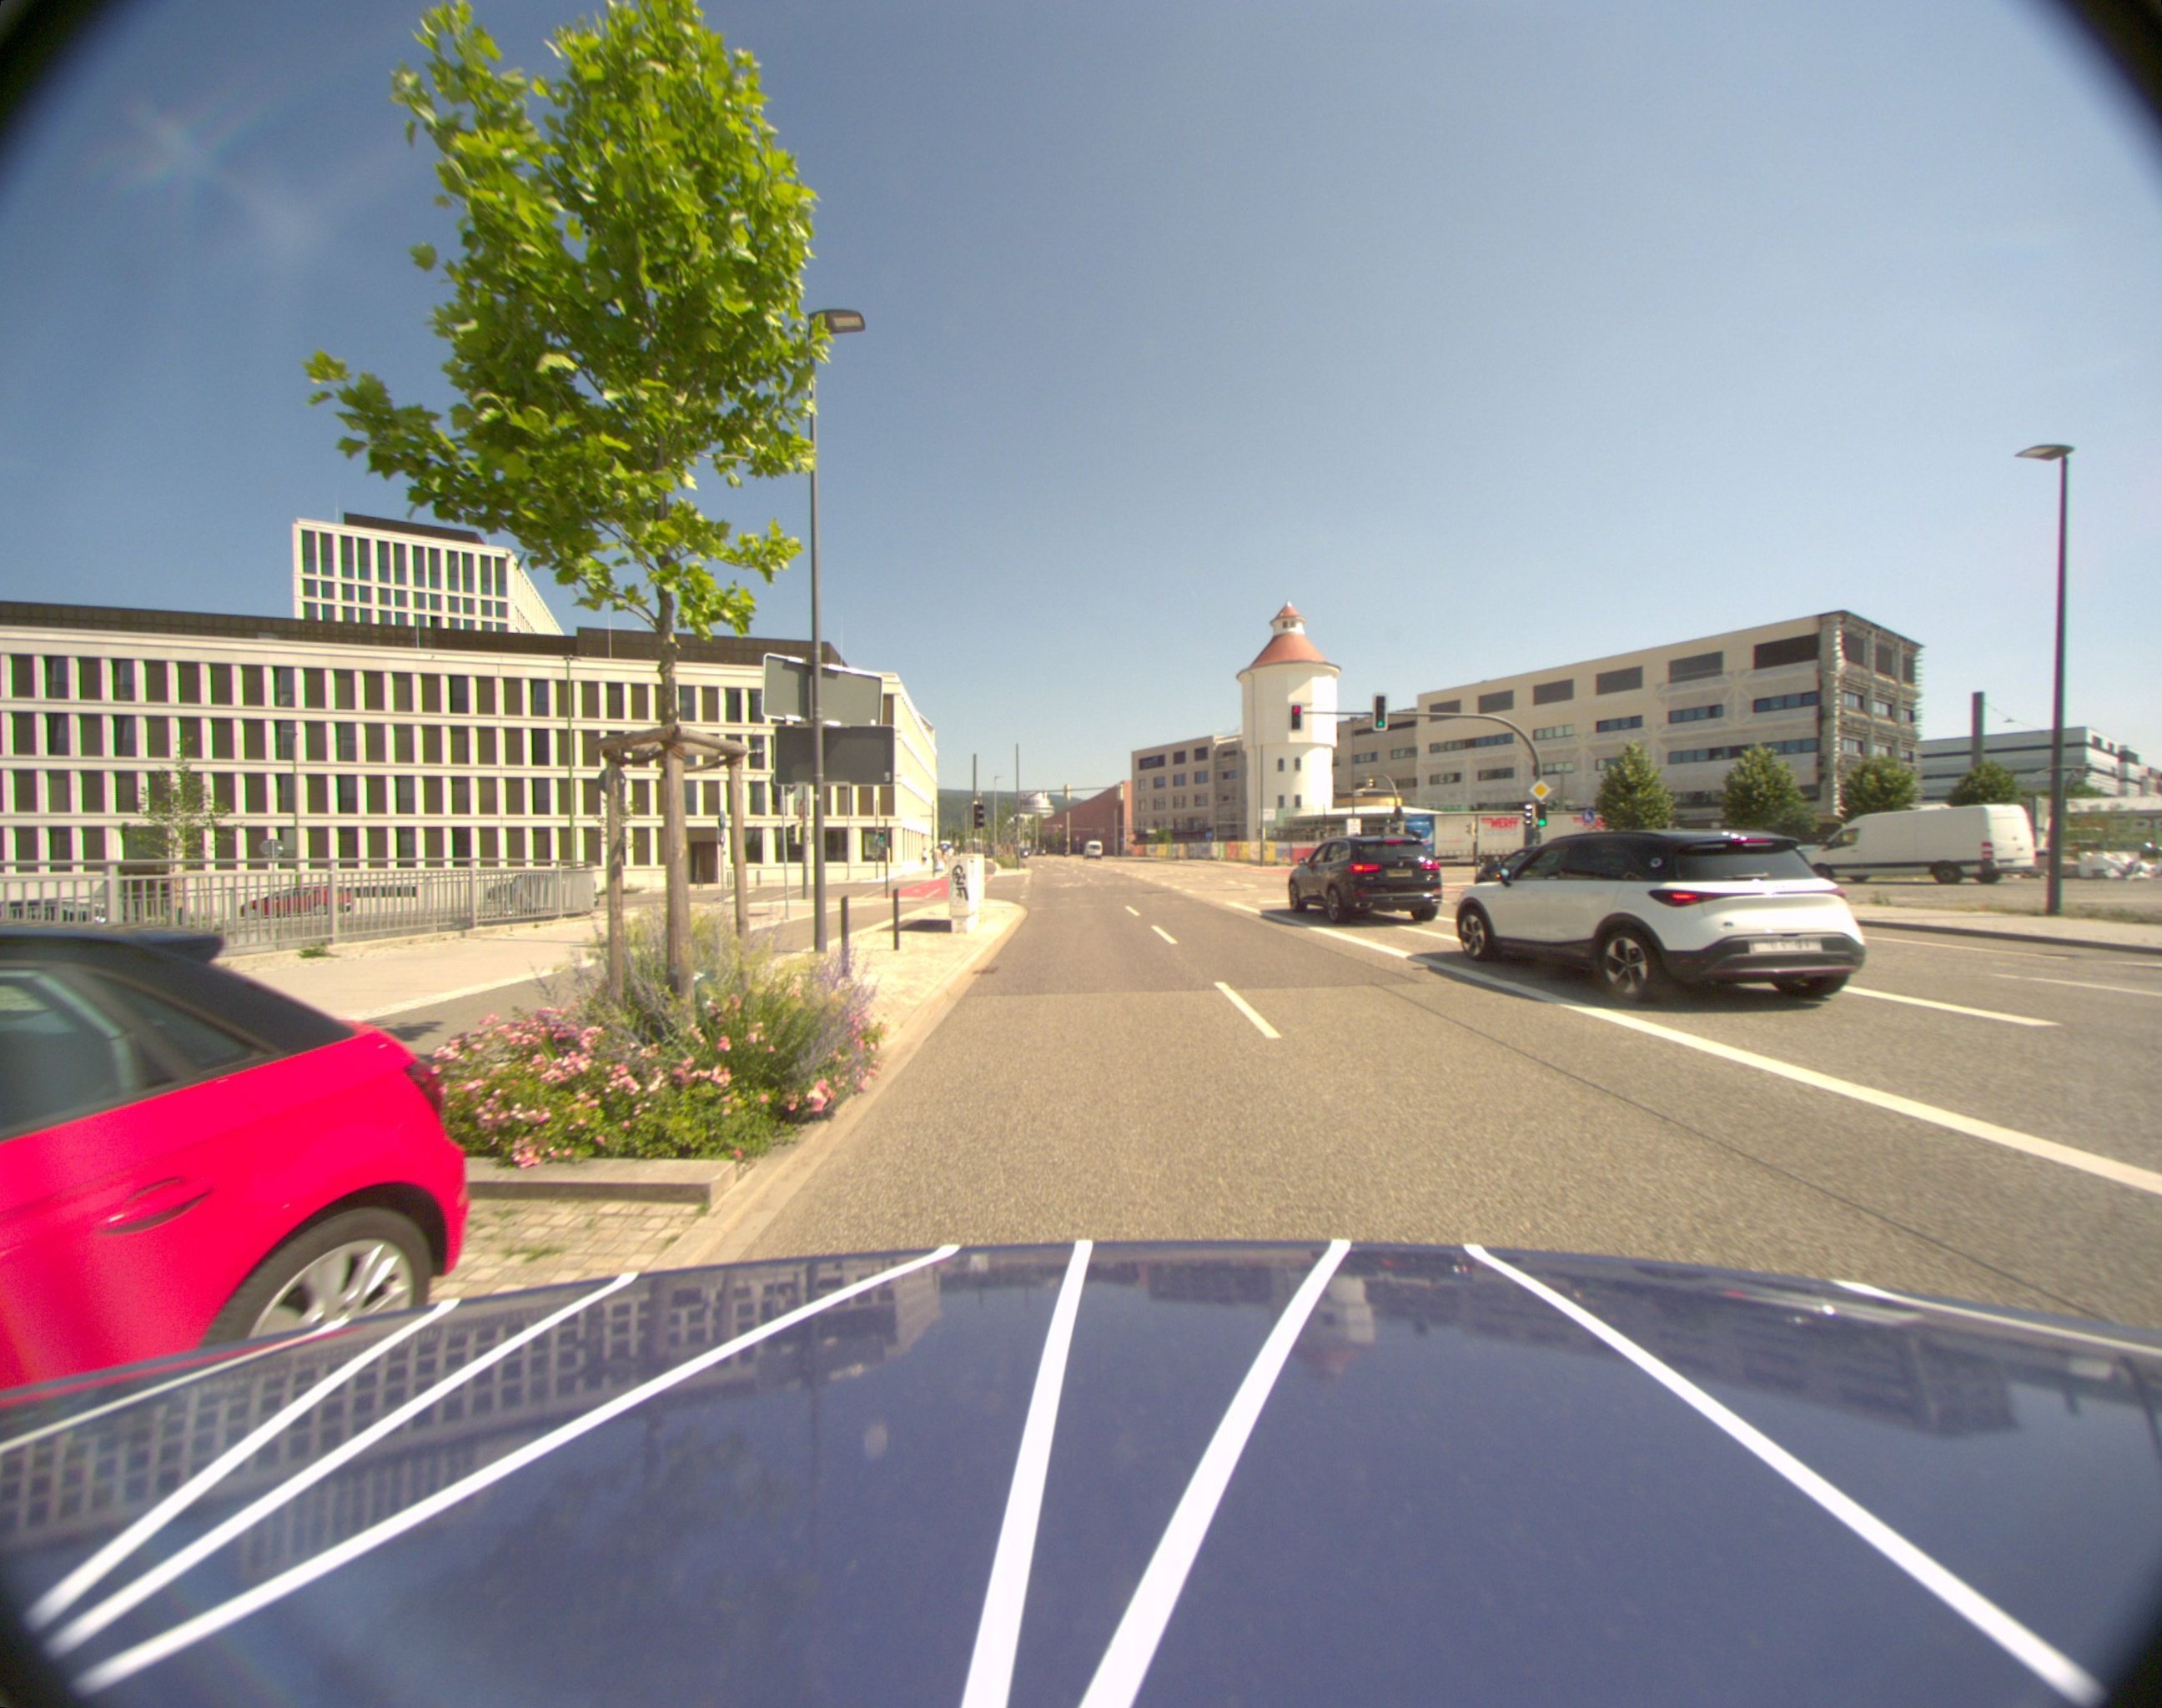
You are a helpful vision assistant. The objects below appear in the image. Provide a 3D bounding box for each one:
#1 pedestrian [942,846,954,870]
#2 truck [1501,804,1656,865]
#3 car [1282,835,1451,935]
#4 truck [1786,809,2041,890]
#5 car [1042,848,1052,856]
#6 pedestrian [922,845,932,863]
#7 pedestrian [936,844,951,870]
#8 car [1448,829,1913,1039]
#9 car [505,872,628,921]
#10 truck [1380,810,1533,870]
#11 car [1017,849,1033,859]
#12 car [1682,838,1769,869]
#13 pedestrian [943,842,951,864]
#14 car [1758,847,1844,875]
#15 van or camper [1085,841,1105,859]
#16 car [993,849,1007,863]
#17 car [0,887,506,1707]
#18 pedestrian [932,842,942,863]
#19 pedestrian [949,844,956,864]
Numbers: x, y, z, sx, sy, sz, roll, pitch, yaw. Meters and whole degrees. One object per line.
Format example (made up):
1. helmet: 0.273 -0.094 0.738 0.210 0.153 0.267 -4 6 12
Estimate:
1. pedestrian: -9.713 0.269 55.465 0.702 1.714 0.796 -3 1 -5
2. truck: 39.378 -1.595 60.222 10.951 4.252 3.341 -3 2 -11
3. car: 5.908 0.572 16.392 1.944 1.778 4.655 -2 0 2
4. truck: 29.936 -0.194 27.720 2.174 2.640 5.937 -1 1 -14
5. car: -7.119 -0.402 158.858 1.803 1.581 3.967 0 1 -9
6. pedestrian: -13.130 -0.020 64.933 0.770 1.557 0.841 0 2 -7
7. pedestrian: -9.861 0.230 54.516 0.880 1.816 1.664 -3 1 -6
8. car: 5.927 0.655 8.299 1.783 1.672 4.098 -2 0 -1
9. car: -18.791 1.511 27.879 1.455 1.456 3.374 -1 2 37
10. truck: 28.512 -1.122 57.723 10.986 4.045 3.297 -3 2 -16
11. car: -9.176 0.034 123.404 1.785 1.552 3.826 -3 1 -16
12. car: 37.424 -0.041 44.124 4.002 1.630 1.878 -2 1 -15
13. pedestrian: -11.354 -0.068 64.477 0.579 1.729 0.997 -1 -4 -7
14. car: 43.255 0.410 45.647 3.904 1.521 1.879 -2 -1 -14
15. van or camper: 1.925 -0.558 104.926 2.159 2.400 5.677 0 2 -5
16. car: -11.131 0.255 103.894 1.811 1.500 3.994 -3 4 -7
17. car: -2.910 0.899 0.435 1.998 1.510 4.000 -2 0 2
18. pedestrian: -12.345 -0.137 65.163 0.827 1.774 0.926 0 2 -7
19. pedestrian: -11.118 0.030 65.870 0.579 1.710 0.996 0 2 -7
